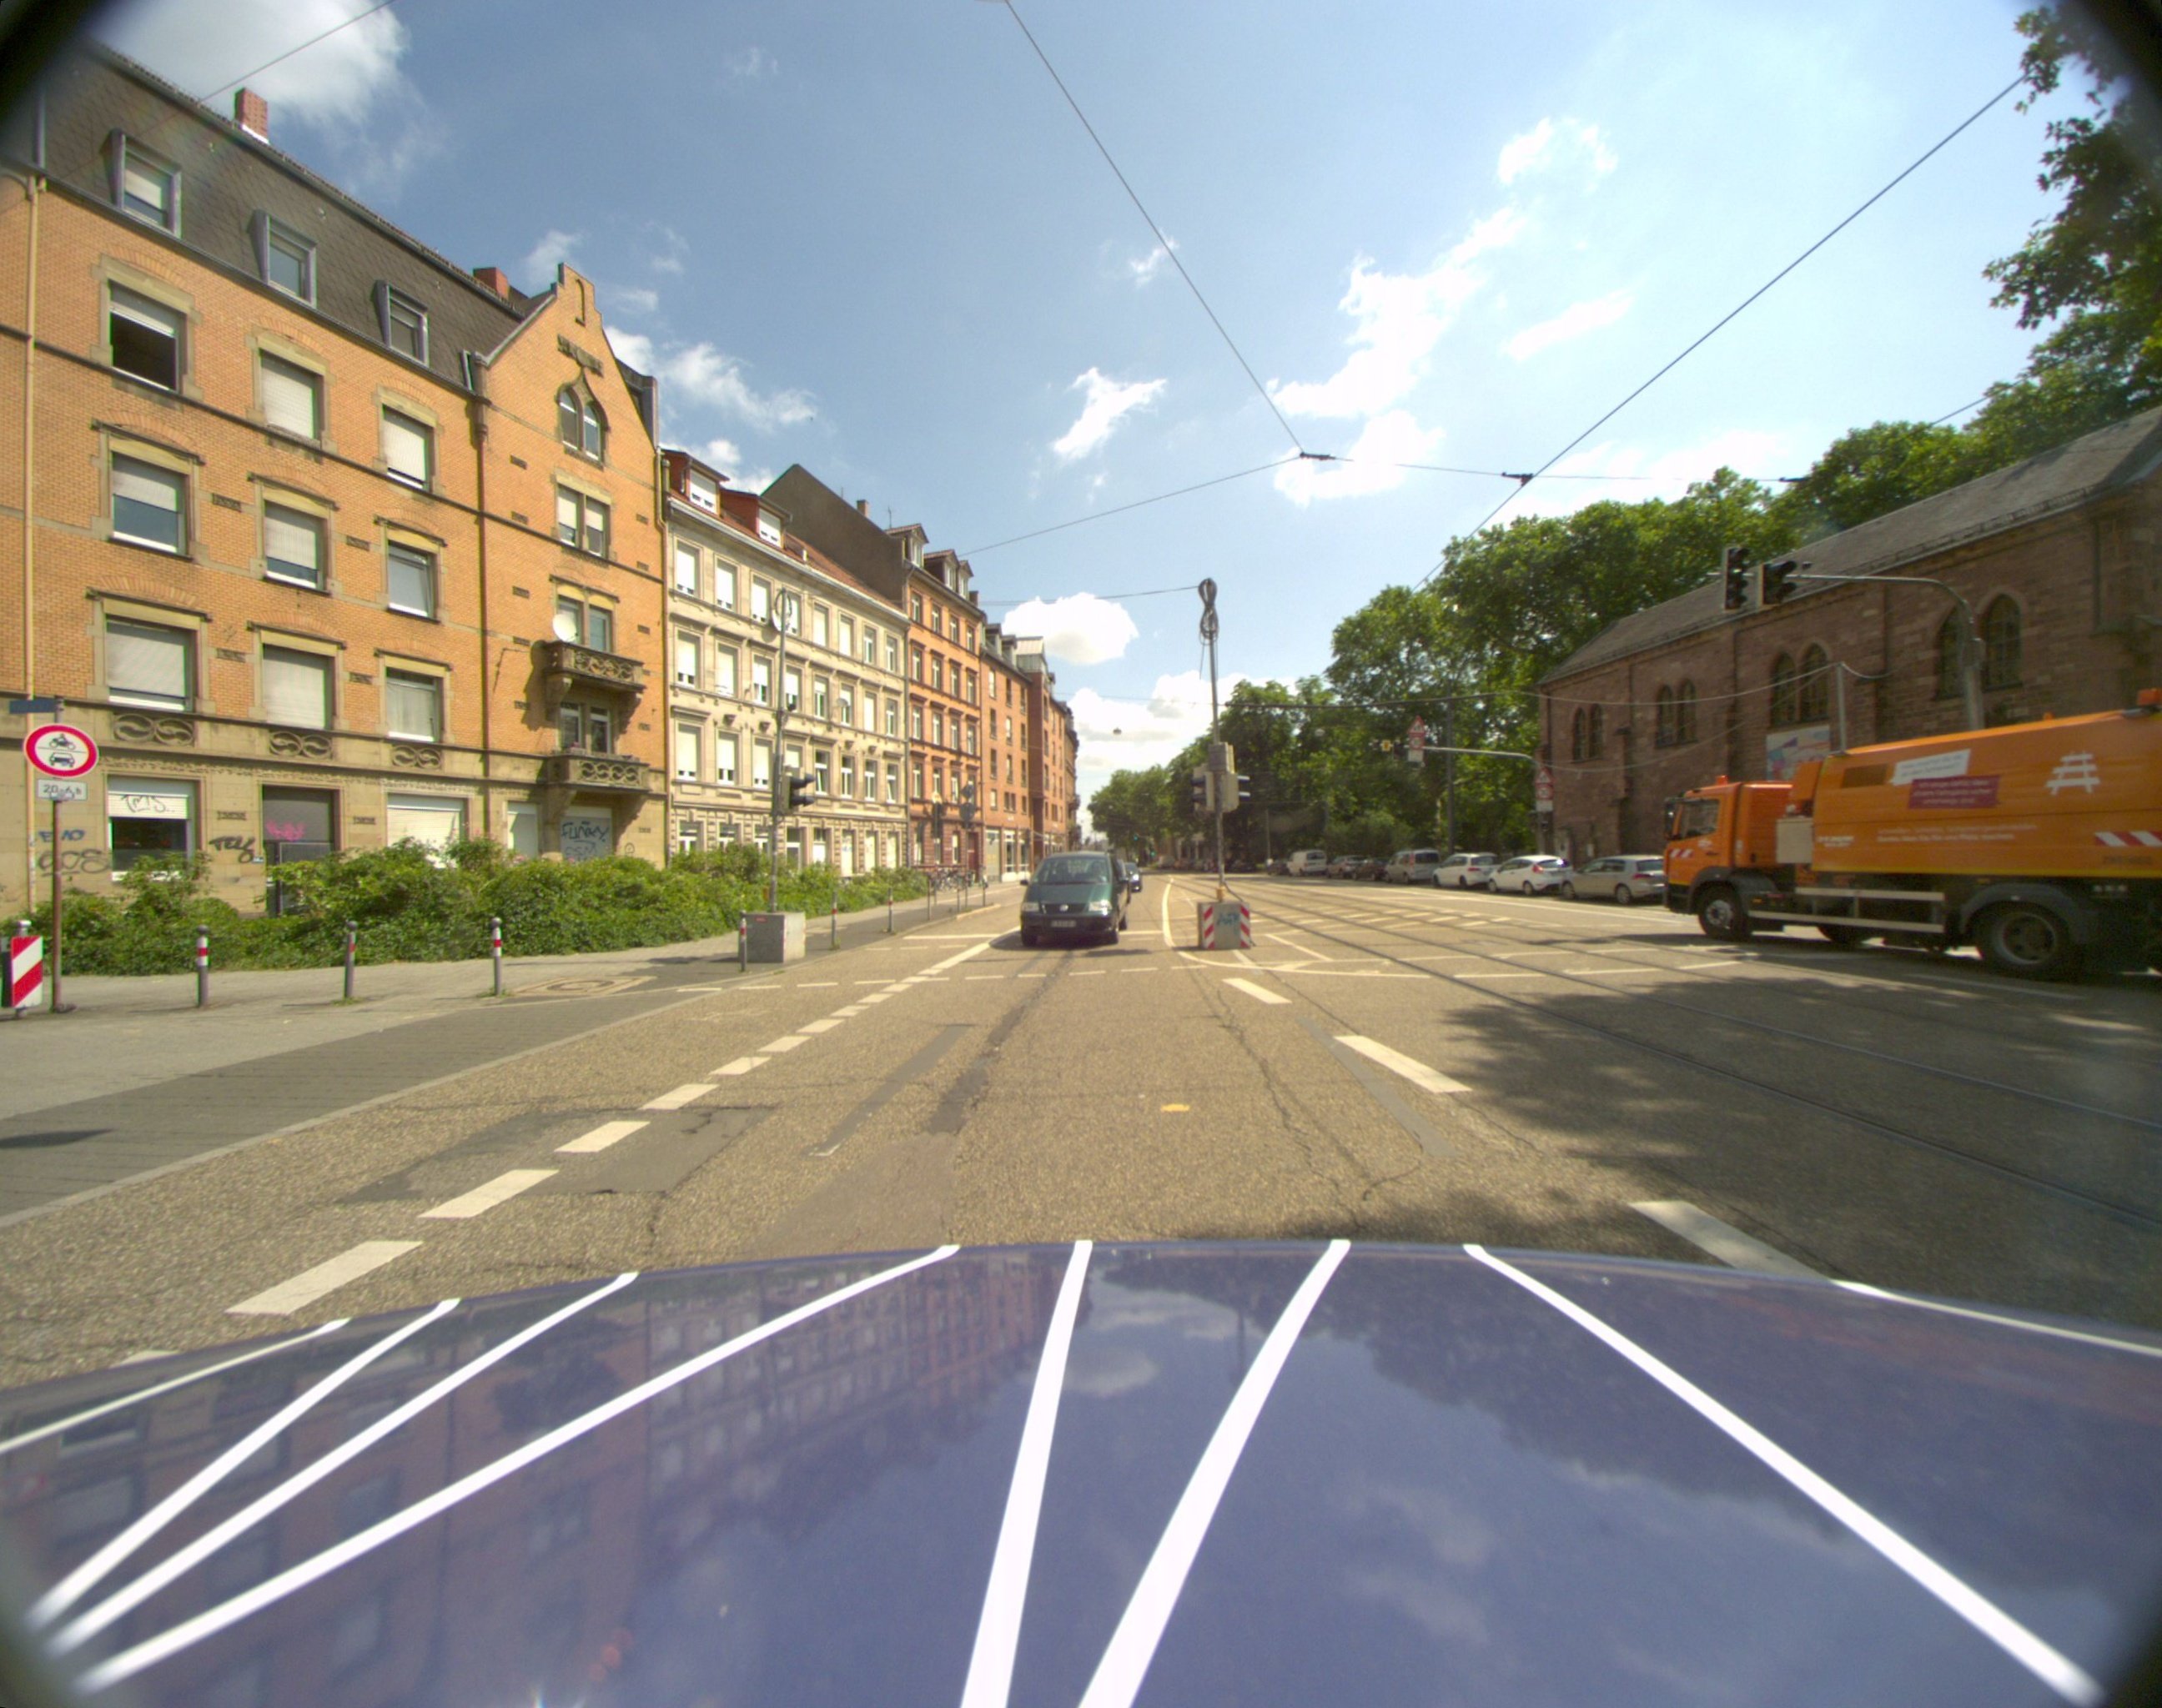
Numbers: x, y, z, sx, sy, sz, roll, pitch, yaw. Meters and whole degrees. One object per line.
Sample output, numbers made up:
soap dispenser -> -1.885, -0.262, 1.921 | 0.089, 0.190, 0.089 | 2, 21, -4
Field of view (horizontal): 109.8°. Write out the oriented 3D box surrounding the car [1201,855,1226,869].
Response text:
car -> 15.397, 0.898, 88.656 | 1.762, 1.488, 3.997 | -2, 0, -8

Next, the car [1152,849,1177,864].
car -> 12.563, 0.403, 114.490 | 1.765, 2.172, 3.991 | -3, 0, -28

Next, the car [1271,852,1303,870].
car -> 17.589, 0.580, 64.980 | 1.761, 1.488, 4.000 | -2, 0, 2

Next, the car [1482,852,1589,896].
car -> 17.265, 0.703, 29.081 | 1.761, 1.488, 4.000 | -2, 0, 2

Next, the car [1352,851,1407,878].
car -> 17.664, 0.594, 45.187 | 1.761, 1.488, 4.000 | -2, 0, 2

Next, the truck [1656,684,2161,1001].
truck -> 11.904, -0.113, 10.429 | 2.645, 3.088, 7.223 | 0, 0, 1

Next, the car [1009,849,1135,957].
car -> 0.013, 0.827, 15.414 | 1.822, 1.746, 5.033 | -2, 1, 7

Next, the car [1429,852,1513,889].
car -> 17.358, 0.684, 34.028 | 1.761, 1.488, 4.000 | -2, 0, 2

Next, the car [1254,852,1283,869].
car -> 17.650, 0.557, 71.638 | 1.761, 1.488, 4.000 | -2, 0, 2

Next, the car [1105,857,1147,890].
car -> 2.251, 0.921, 37.686 | 1.914, 1.386, 4.314 | -2, 1, 4

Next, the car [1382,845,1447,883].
car -> 17.482, 0.474, 40.020 | 1.761, 1.825, 4.000 | -2, 0, 2

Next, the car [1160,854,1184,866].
car -> 12.485, 0.821, 104.490 | 1.763, 1.488, 3.994 | -2, 0, -17

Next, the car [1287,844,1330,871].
car -> 17.647, 0.274, 59.150 | 1.993, 1.992, 4.084 | -2, 0, -1

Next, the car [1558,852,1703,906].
car -> 17.219, 0.732, 24.076 | 1.761, 1.488, 4.000 | -2, 0, 2

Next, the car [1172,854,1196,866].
car -> 13.537, 0.756, 100.047 | 1.763, 1.488, 3.995 | -2, 0, -15

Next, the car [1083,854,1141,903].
car -> 1.222, 0.834, 28.262 | 1.874, 1.610, 4.190 | -2, 0, 6

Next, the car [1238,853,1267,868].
car -> 17.498, 0.645, 77.754 | 1.762, 1.488, 3.998 | -2, 0, -5

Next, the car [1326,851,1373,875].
car -> 17.695, 0.577, 50.214 | 1.761, 1.488, 4.000 | -2, 0, 2

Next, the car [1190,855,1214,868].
car -> 14.797, 0.848, 93.064 | 1.762, 1.488, 3.997 | -2, 0, -8
